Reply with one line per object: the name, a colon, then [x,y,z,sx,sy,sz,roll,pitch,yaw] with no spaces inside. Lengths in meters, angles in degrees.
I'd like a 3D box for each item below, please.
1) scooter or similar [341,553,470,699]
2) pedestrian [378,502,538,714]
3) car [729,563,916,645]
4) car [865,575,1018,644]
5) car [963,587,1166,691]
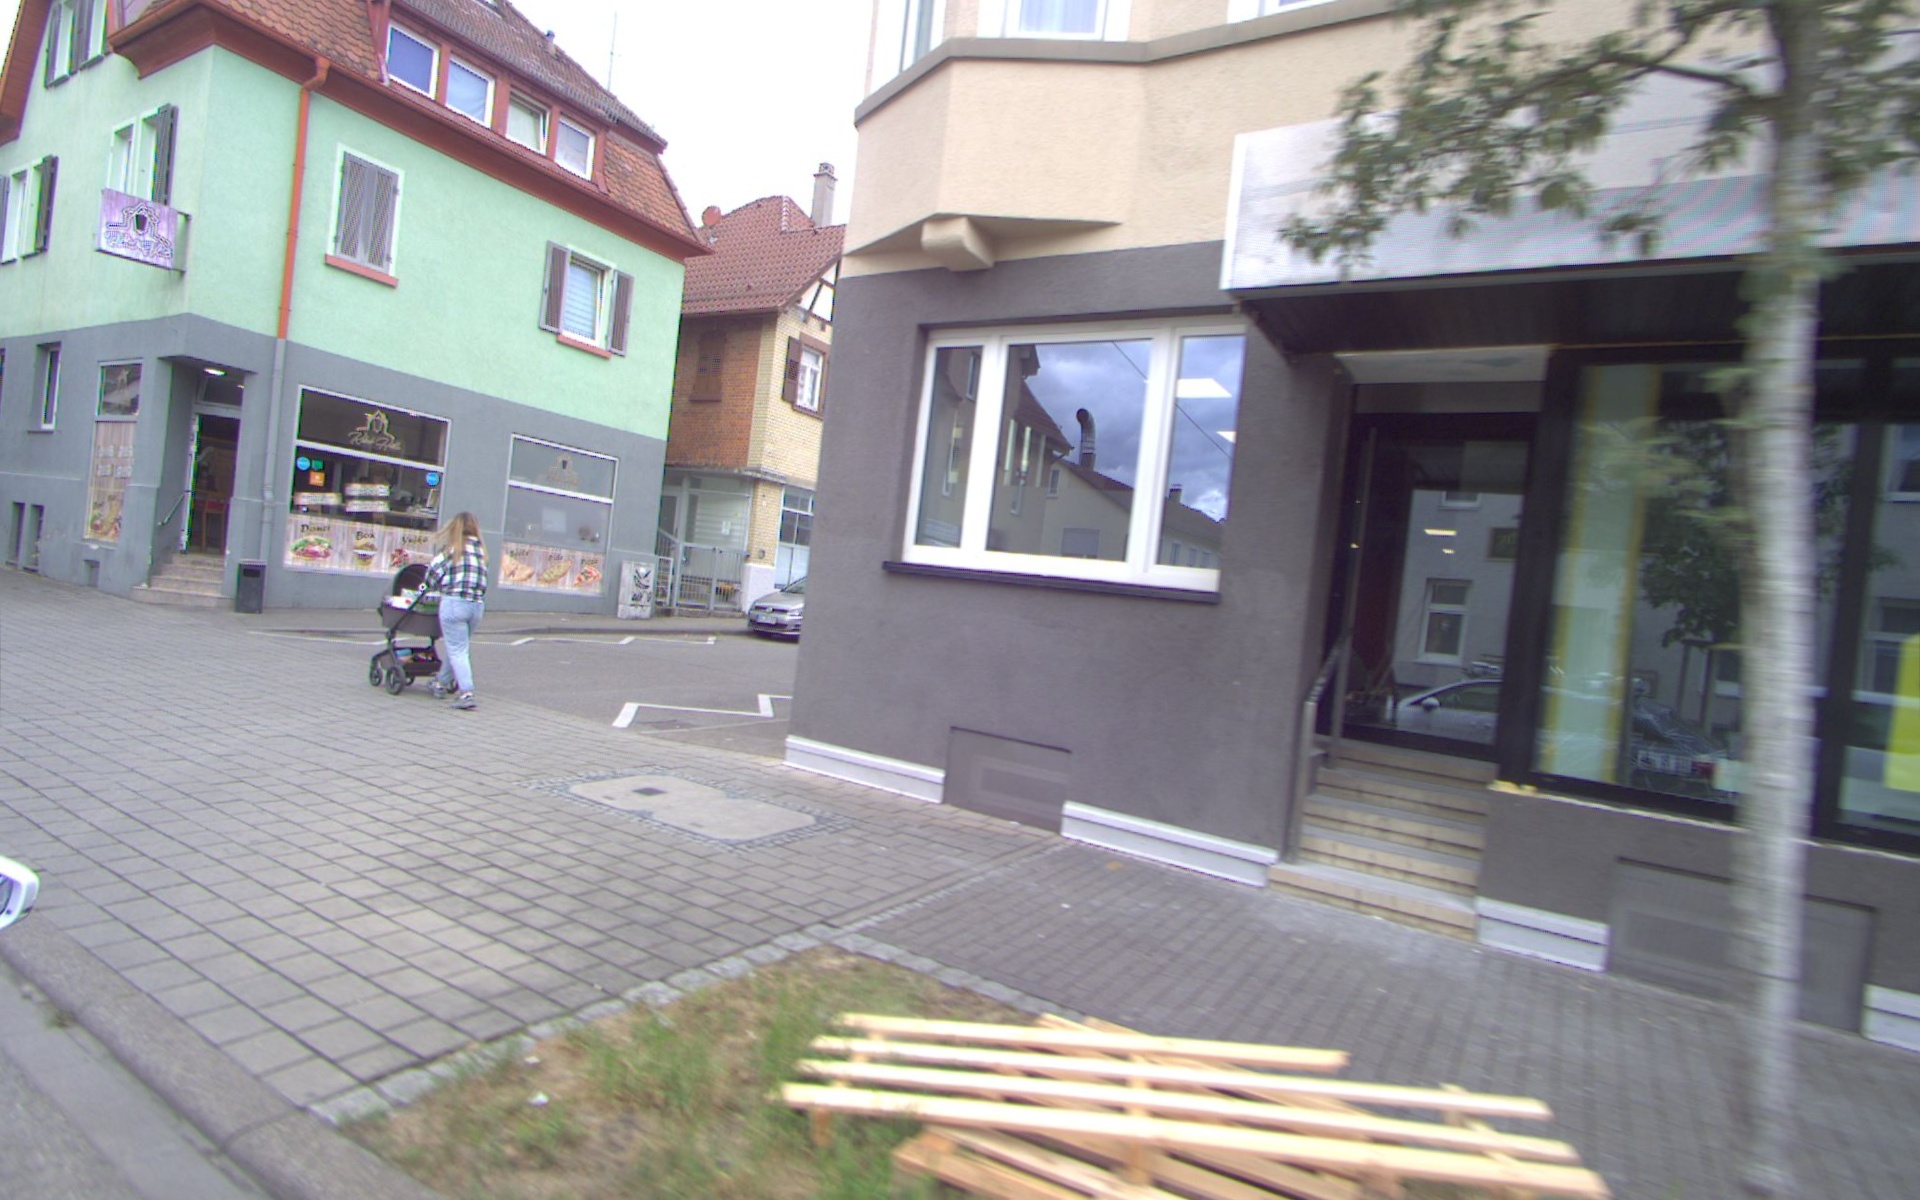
scooter or similar: [-5.225,0.249,9.484,0.877,1.247,0.590,7,0,32]
pedestrian: [-4.445,0.077,8.916,0.885,1.740,0.751,7,0,32]
car: [-2.868,0.144,21.793,1.773,1.483,4.049,6,1,32]
car: [-0.378,0.294,25.859,1.773,1.483,4.351,6,1,32]
car: [2.060,0.703,18.543,1.877,1.491,4.426,8,2,31]
